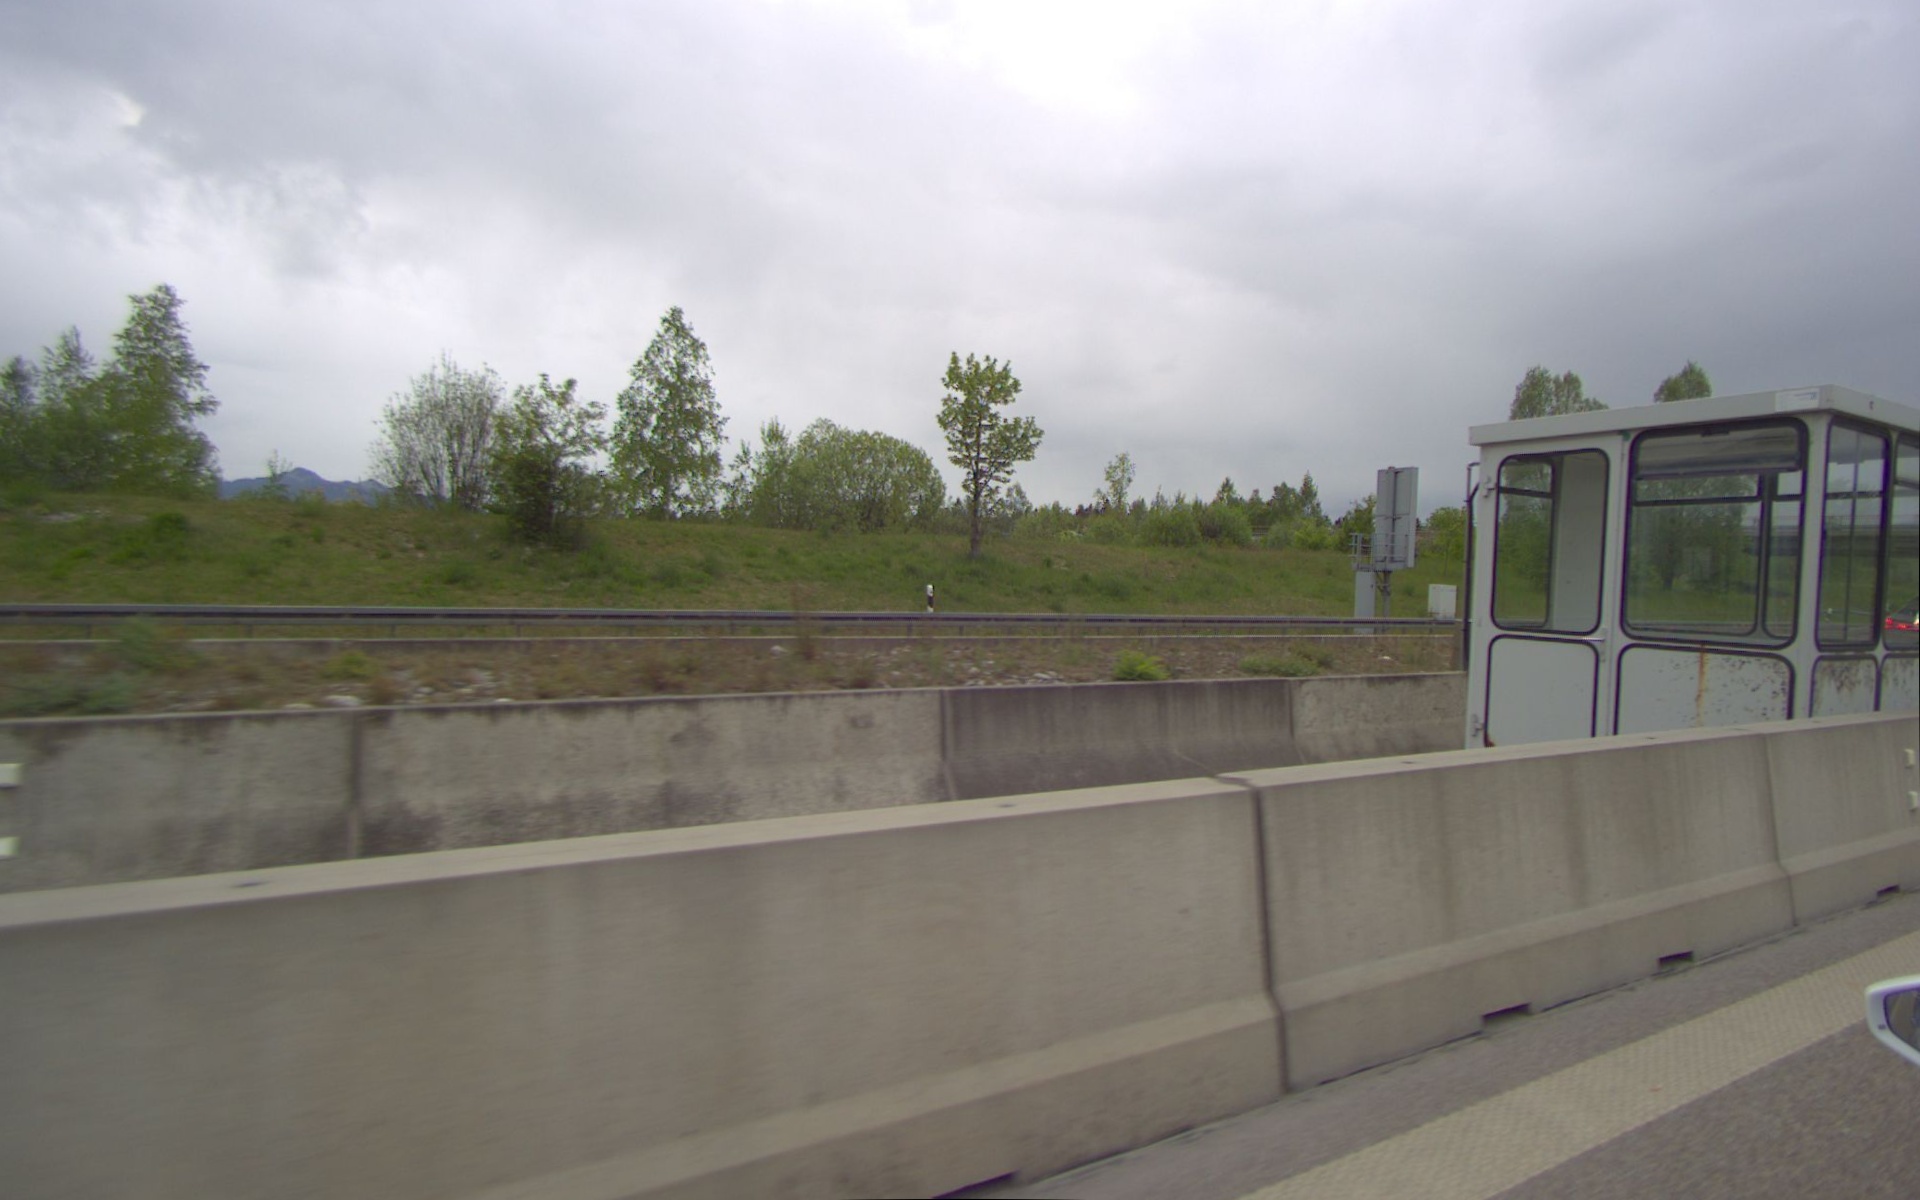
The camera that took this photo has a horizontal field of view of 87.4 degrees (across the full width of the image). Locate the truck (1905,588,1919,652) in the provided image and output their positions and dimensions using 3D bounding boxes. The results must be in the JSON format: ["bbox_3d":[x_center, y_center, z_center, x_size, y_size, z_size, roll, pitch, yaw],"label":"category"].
[{"bbox_3d":[40.831,0.859,40.545,5.919,2.512,2.345,1,1,-31],"label":"truck"}]
